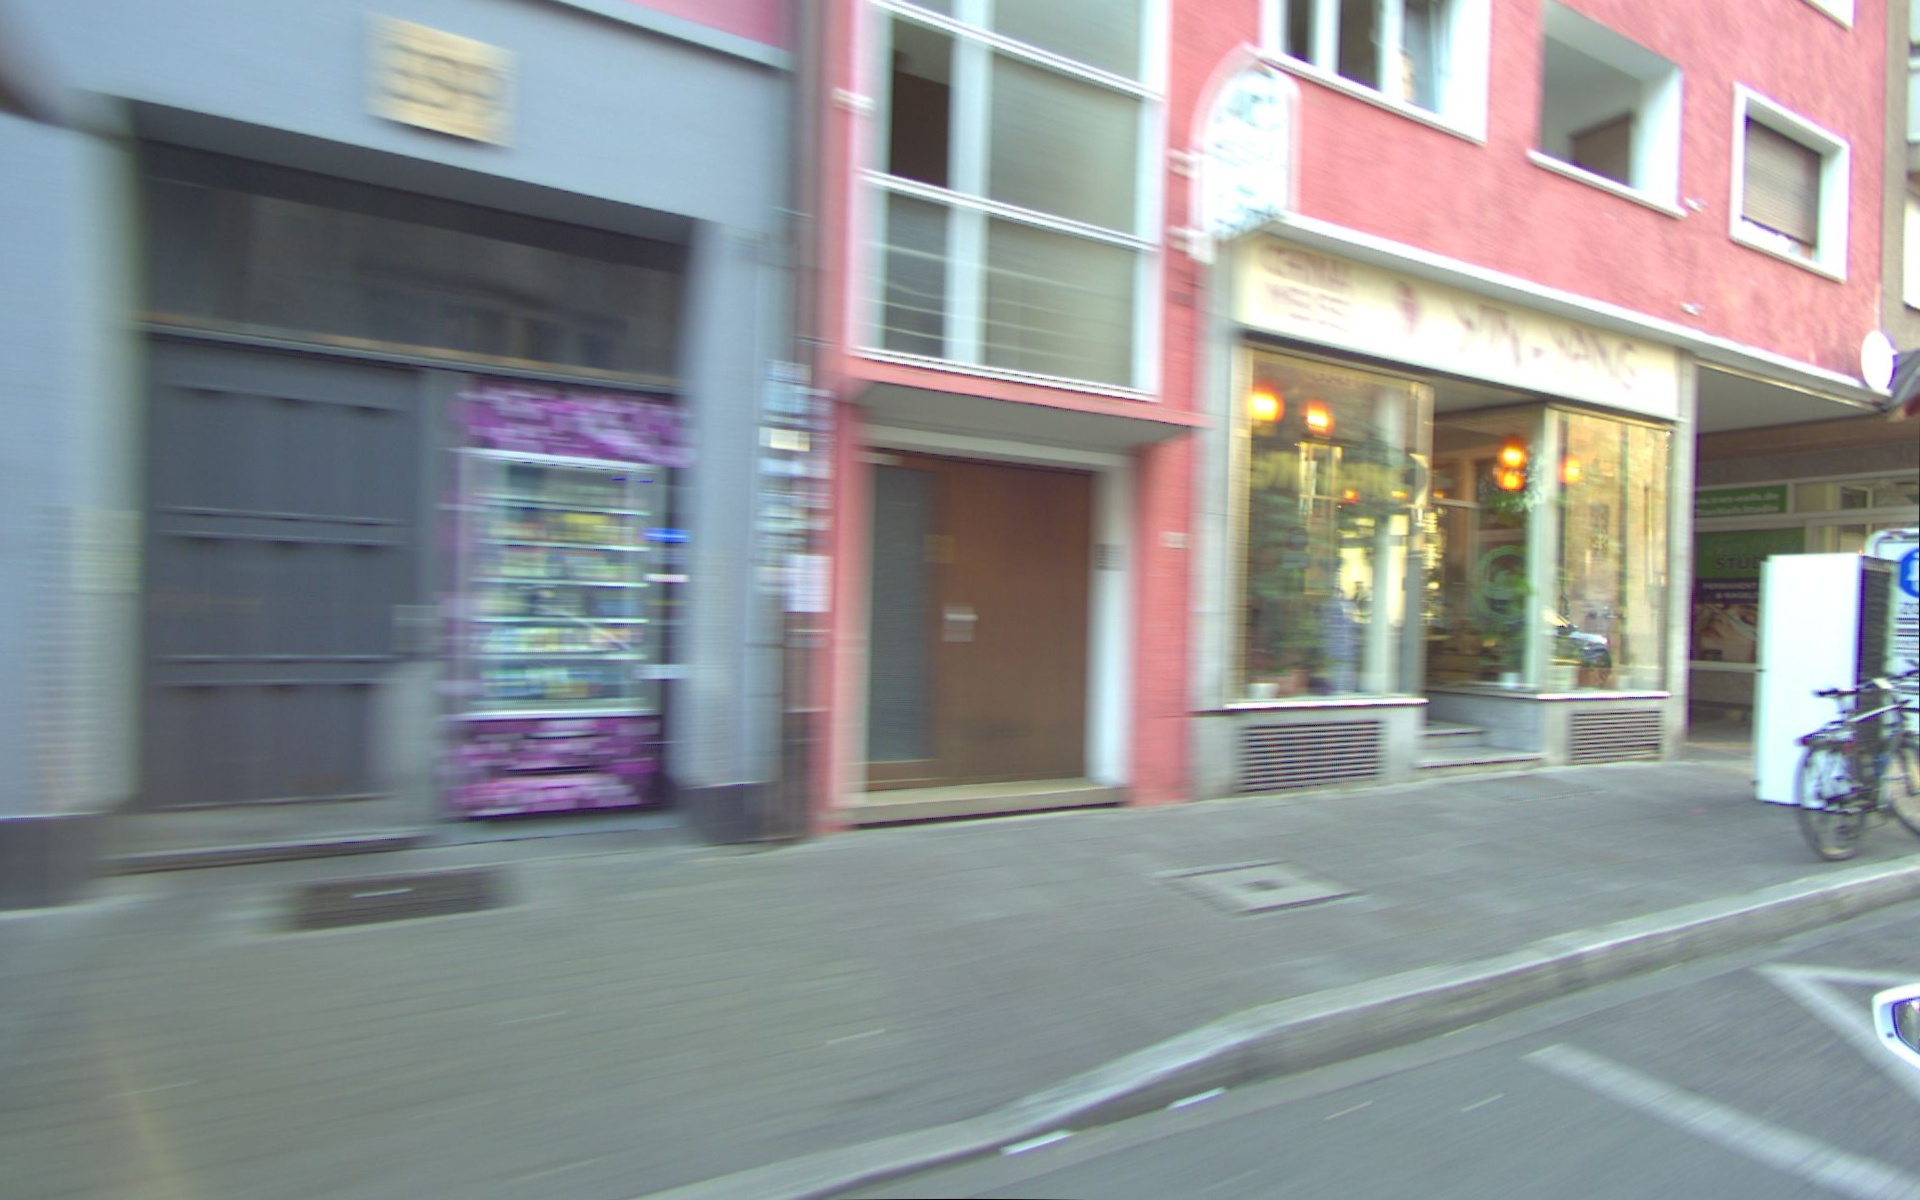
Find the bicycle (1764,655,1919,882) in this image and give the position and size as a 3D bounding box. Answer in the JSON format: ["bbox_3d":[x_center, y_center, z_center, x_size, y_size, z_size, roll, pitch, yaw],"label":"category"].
[{"bbox_3d":[5.716,0.956,6.174,1.819,1.208,0.541,2,0,-29],"label":"bicycle"}]
